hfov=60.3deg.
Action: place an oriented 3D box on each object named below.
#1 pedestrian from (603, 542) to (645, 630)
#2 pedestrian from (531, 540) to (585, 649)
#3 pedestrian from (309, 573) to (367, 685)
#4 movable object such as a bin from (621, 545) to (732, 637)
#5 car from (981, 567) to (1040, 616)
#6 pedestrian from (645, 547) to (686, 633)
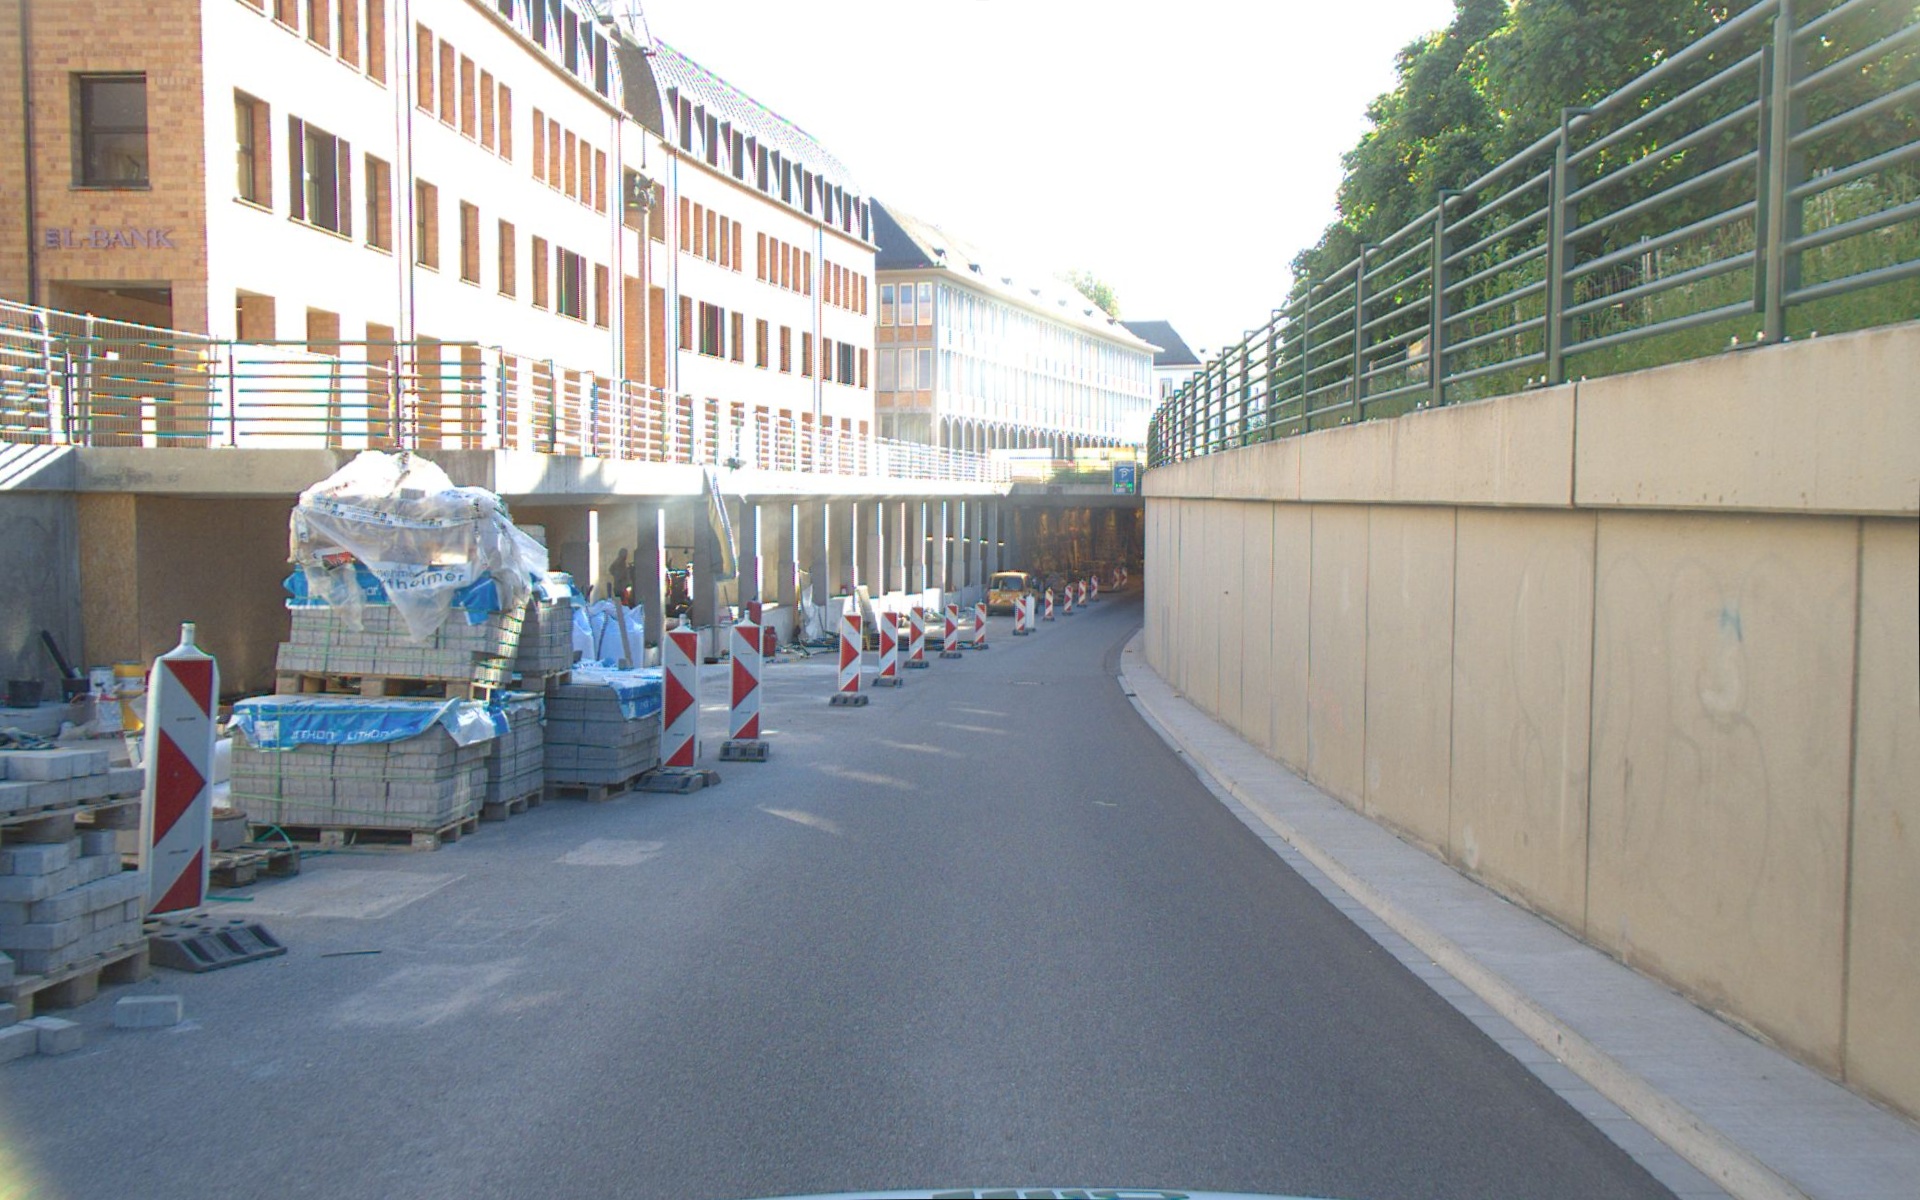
[{"bbox_3d":[-7.230,-0.302,35.620,0.689,1.846,0.710,2,0,3],"label":"pedestrian"},{"bbox_3d":[-7.575,-0.109,31.176,0.663,1.991,0.937,2,0,5],"label":"pedestrian"},{"bbox_3d":[-9.012,0.417,23.985,0.636,1.607,0.630,0,0,-5],"label":"pedestrian"},{"bbox_3d":[-6.524,-0.228,38.371,1.846,2.021,3.160,1,1,3],"label":"movable object such as a bin"},{"bbox_3d":[2.162,-0.398,69.915,1.808,1.806,4.439,1,3,11],"label":"car"},{"bbox_3d":[-6.459,-0.219,36.305,0.643,1.836,0.625,2,0,13],"label":"pedestrian"}]
